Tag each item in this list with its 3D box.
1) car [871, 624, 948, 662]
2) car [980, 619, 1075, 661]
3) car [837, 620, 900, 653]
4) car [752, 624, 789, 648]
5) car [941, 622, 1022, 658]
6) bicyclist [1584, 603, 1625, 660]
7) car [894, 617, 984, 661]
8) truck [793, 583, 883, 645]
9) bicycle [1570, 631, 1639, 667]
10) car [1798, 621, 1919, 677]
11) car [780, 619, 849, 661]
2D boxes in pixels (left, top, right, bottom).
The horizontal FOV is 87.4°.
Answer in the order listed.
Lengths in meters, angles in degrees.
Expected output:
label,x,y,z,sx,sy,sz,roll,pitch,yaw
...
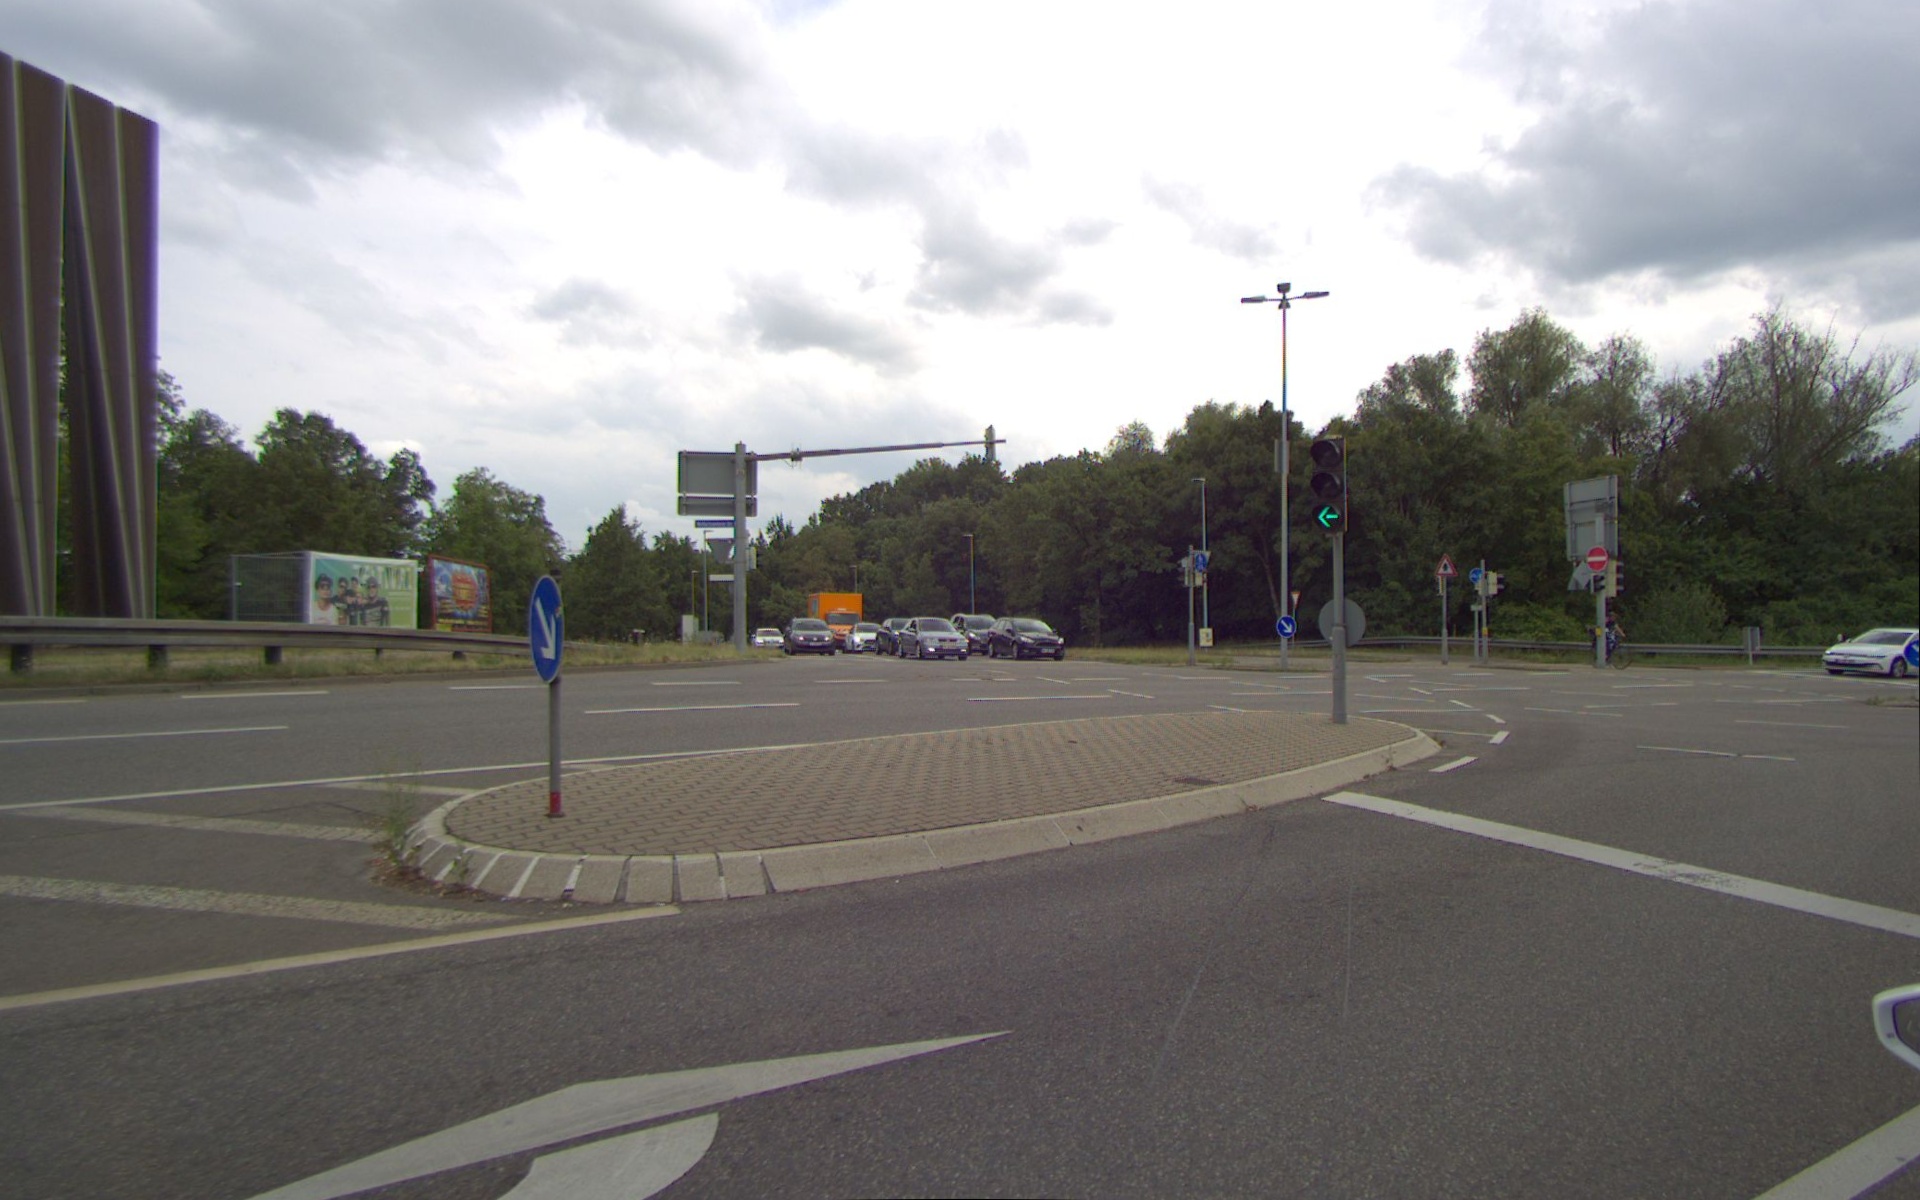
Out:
label,x,y,z,sx,sy,sz,roll,pitch,yaw
car,-2.090,1.682,40.154,1.969,1.327,4.319,1,0,-19
car,2.335,1.384,35.699,1.969,1.327,4.054,1,0,-19
car,-4.277,1.662,46.364,1.969,1.327,4.319,1,0,-19
car,-11.458,2.156,60.652,1.619,1.327,3.868,1,0,-20
car,0.820,1.630,41.829,1.969,1.327,4.555,1,0,-19
bicyclist,20.111,0.989,31.343,0.786,1.757,0.744,1,-2,-9
car,-0.779,1.279,33.914,1.969,1.327,3.790,1,0,-19
truck,-6.946,0.735,55.856,2.926,3.177,9.234,1,0,-20
bicycle,20.077,1.525,31.328,0.695,1.066,1.942,1,-3,-9
car,28.052,1.476,30.438,4.466,1.567,1.992,1,0,-18
car,-5.855,1.549,40.000,1.969,1.508,4.359,1,0,-19
